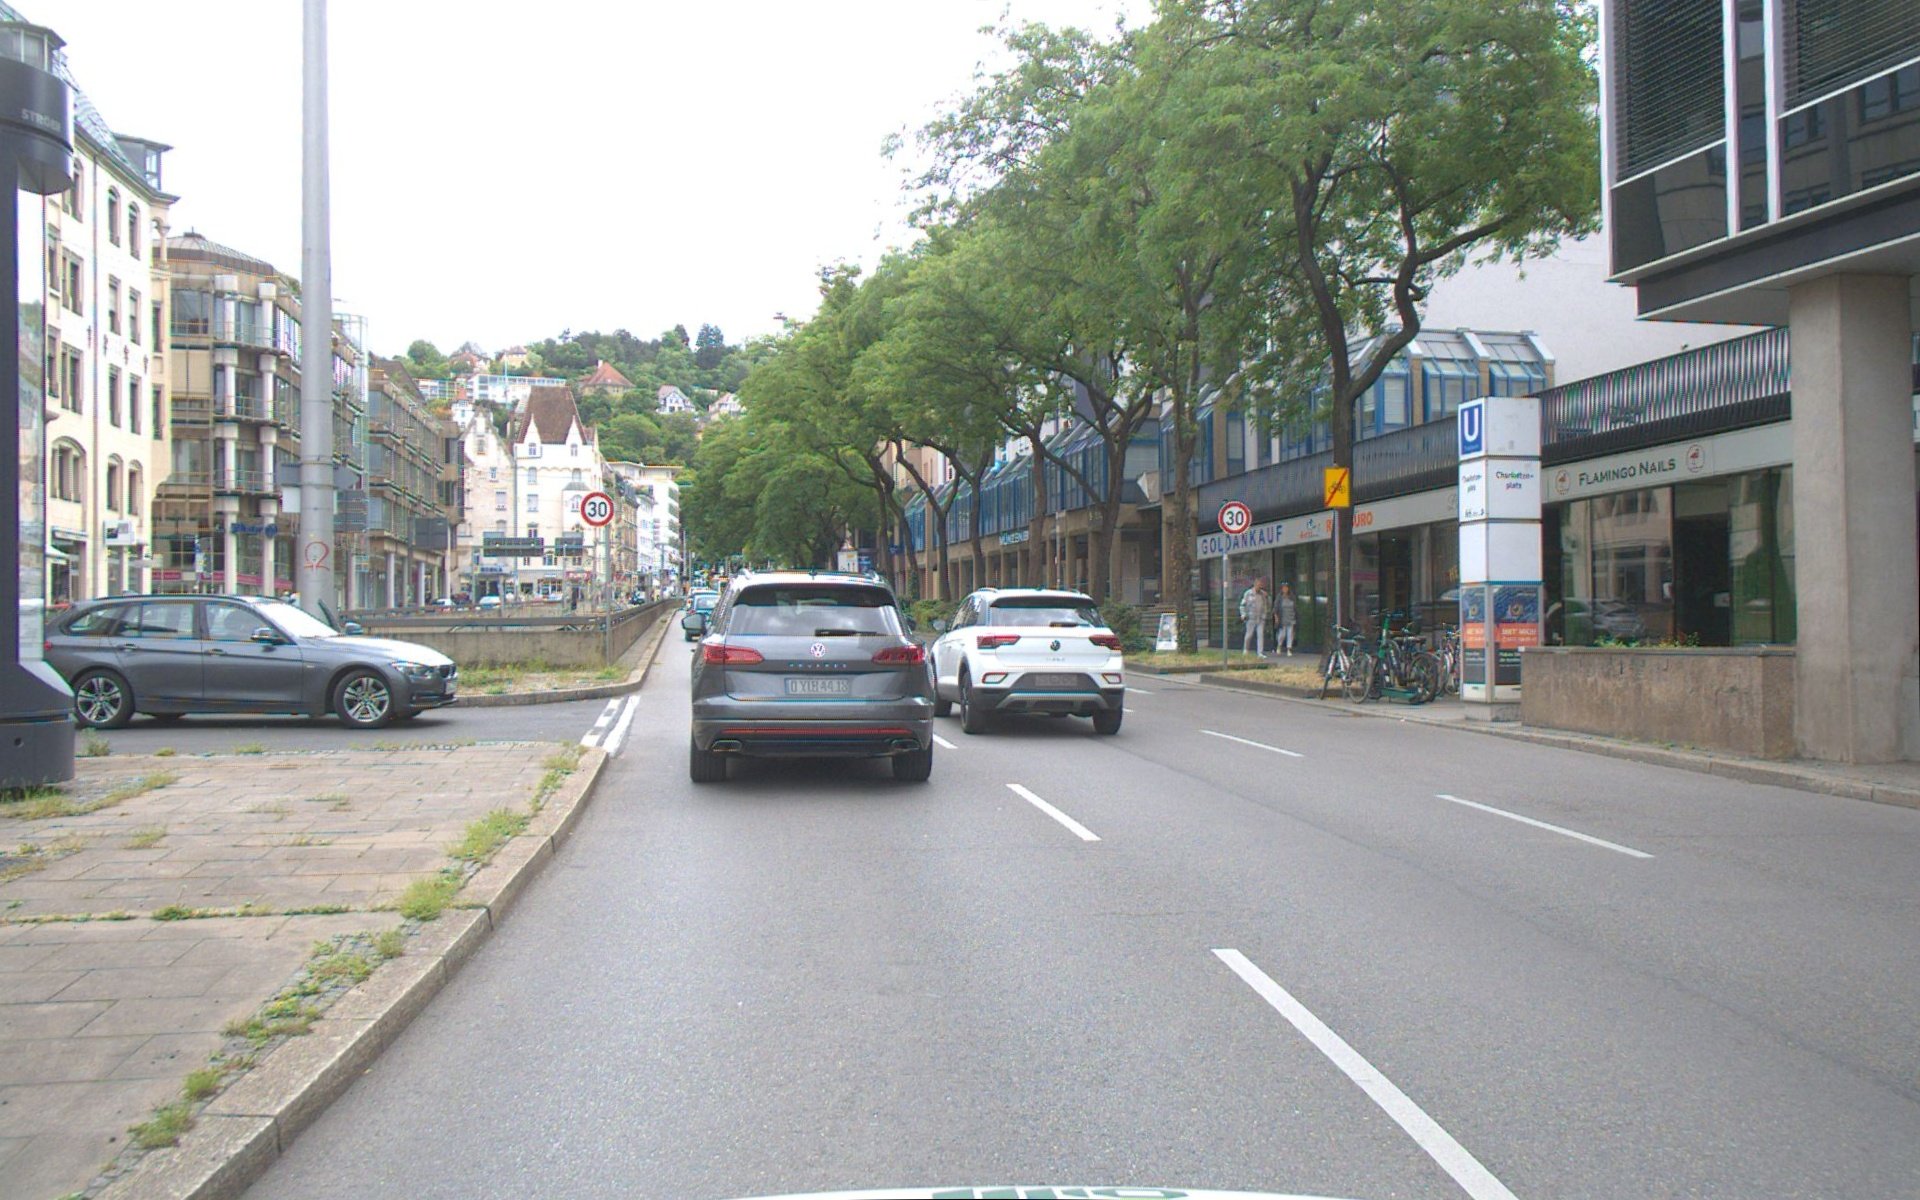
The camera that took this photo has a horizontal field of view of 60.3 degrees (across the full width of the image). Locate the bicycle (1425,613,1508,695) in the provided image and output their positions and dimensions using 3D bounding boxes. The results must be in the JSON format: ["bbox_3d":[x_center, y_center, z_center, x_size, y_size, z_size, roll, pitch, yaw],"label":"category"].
[{"bbox_3d":[7.470,0.779,24.452,0.480,1.152,1.685,0,0,-9],"label":"bicycle"}]

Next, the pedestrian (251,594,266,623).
[{"bbox_3d":[-38.621,0.483,91.069,0.689,1.571,0.843,-1,0,-17],"label":"pedestrian"}]

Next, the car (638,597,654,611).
[{"bbox_3d":[-41.429,0.548,218.089,1.957,1.798,4.270,-1,0,-10],"label":"car"}]

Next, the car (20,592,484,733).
[{"bbox_3d":[-7.927,0.669,18.858,4.458,1.484,1.881,0,0,-2],"label":"car"}]

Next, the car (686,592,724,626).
[{"bbox_3d":[-12.658,0.441,82.028,1.799,1.594,3.758,-1,0,-10],"label":"car"}]

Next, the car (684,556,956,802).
[{"bbox_3d":[-1.262,0.551,14.177,1.933,1.725,4.218,-2,1,-7],"label":"car"}]

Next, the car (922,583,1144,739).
[{"bbox_3d":[0.730,0.660,19.235,1.765,1.572,3.926,-1,-1,-10],"label":"car"}]

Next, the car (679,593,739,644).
[{"bbox_3d":[-8.082,0.567,53.051,1.799,1.544,3.758,-2,0,-10],"label":"car"}]

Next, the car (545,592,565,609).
[{"bbox_3d":[-46.549,0.050,190.208,1.957,1.798,4.271,-1,0,-10],"label":"car"}]

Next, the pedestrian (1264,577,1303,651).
[{"bbox_3d":[7.434,0.314,38.062,0.586,1.657,0.754,-1,0,-15],"label":"pedestrian"}]

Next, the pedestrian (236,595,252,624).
[{"bbox_3d":[-39.327,0.497,90.881,0.689,1.571,0.843,-1,0,-17],"label":"pedestrian"}]

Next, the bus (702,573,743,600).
[{"bbox_3d":[-32.872,-1.843,229.560,3.772,3.593,17.238,-1,0,-2],"label":"bus"}]

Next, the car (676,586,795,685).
[{"bbox_3d":[-3.675,0.530,27.231,1.799,1.419,4.141,0,2,-7],"label":"car"}]

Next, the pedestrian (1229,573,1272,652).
[{"bbox_3d":[6.636,0.276,37.825,0.586,1.784,0.937,-1,0,-15],"label":"pedestrian"}]

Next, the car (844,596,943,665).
[{"bbox_3d":[-1.656,0.693,39.540,1.800,1.457,4.138,0,2,-11],"label":"car"}]

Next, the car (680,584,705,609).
[{"bbox_3d":[-20.730,-0.280,128.309,1.798,1.907,4.861,-1,0,-8],"label":"car"}]

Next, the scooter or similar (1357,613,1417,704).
[{"bbox_3d":[6.203,0.837,24.058,0.301,1.273,0.990,0,0,-22],"label":"scooter or similar"}]

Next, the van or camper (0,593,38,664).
[{"bbox_3d":[-25.046,0.726,41.646,1.834,1.782,4.475,0,0,-11],"label":"van or camper"}]

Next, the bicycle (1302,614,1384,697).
[{"bbox_3d":[5.626,0.797,24.382,0.480,1.152,1.839,0,0,-10],"label":"bicycle"}]

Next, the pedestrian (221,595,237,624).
[{"bbox_3d":[-39.986,0.520,90.452,0.689,1.571,0.843,-1,0,-17],"label":"pedestrian"}]

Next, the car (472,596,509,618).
[{"bbox_3d":[-35.065,0.491,123.556,1.956,1.613,4.879,-1,0,-7],"label":"car"}]

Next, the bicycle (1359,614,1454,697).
[{"bbox_3d":[6.581,0.792,24.469,0.481,1.152,1.879,0,0,-15],"label":"bicycle"}]

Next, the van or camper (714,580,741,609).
[{"bbox_3d":[-26.280,-0.639,186.527,2.582,3.234,5.784,-1,1,-13],"label":"van or camper"}]
